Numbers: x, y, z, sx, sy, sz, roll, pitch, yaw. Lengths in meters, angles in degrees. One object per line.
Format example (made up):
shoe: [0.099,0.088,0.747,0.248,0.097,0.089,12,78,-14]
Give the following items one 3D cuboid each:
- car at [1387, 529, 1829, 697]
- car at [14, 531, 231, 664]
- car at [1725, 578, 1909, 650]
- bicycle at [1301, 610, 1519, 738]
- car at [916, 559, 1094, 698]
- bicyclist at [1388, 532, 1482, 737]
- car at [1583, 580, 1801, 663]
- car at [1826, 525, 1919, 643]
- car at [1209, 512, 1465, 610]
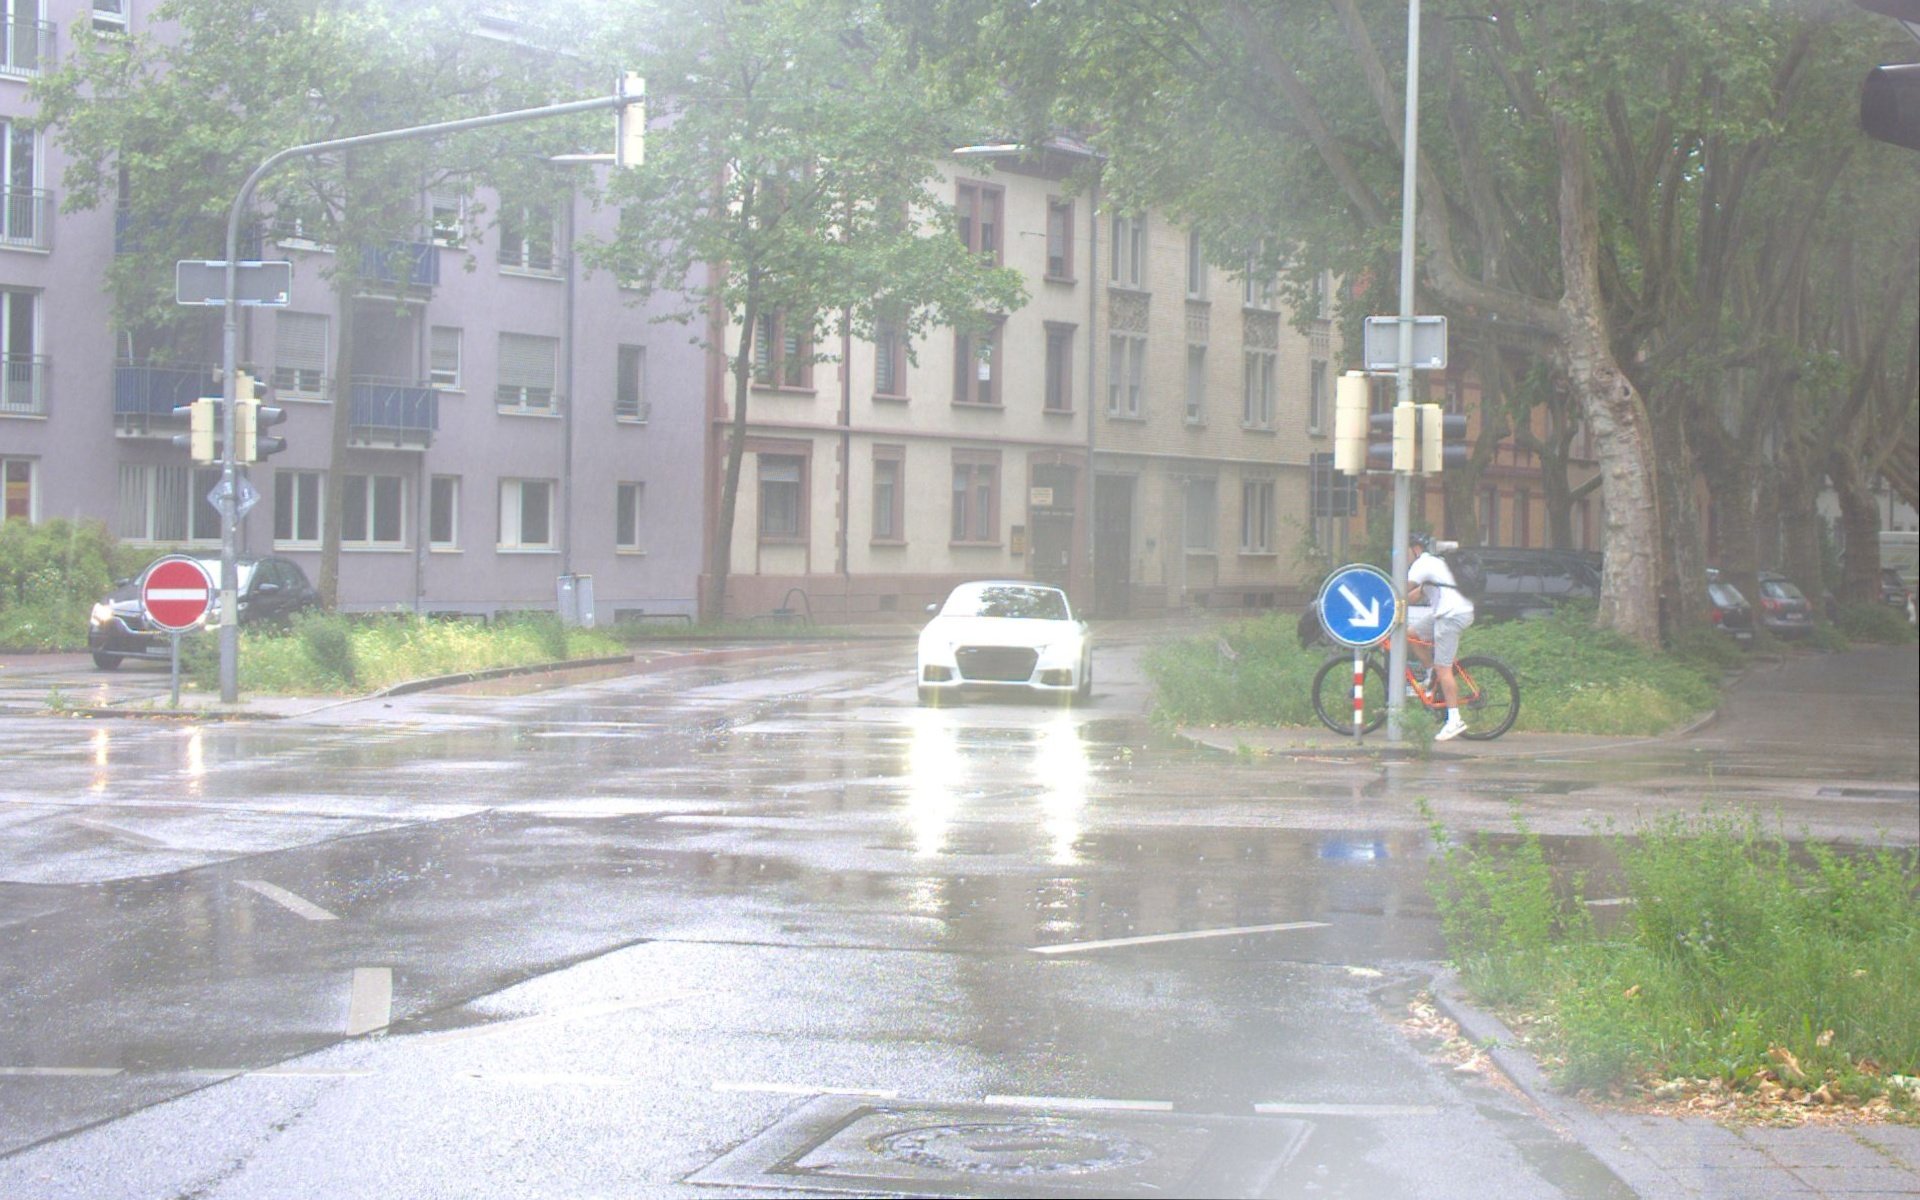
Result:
car: [6.164,0.102,32.711,3.989,1.481,1.999,1,1,12]
car: [-10.050,-0.065,41.505,1.751,1.506,3.839,1,1,-2]
car: [19.571,0.306,78.661,3.989,1.542,1.999,1,1,12]
bicycle: [3.976,0.645,30.400,1.873,1.077,0.657,1,0,8]
car: [0.537,0.285,39.091,1.884,1.431,4.000,1,1,1]
bicyclist: [4.193,0.297,30.370,0.795,1.780,0.697,1,0,8]
car: [13.934,0.396,65.485,3.989,1.481,1.999,1,1,12]
car: [24.391,-0.417,87.723,2.033,2.938,4.773,1,1,-21]
car: [5.999,-0.616,54.598,3.868,1.481,1.715,1,0,12]
